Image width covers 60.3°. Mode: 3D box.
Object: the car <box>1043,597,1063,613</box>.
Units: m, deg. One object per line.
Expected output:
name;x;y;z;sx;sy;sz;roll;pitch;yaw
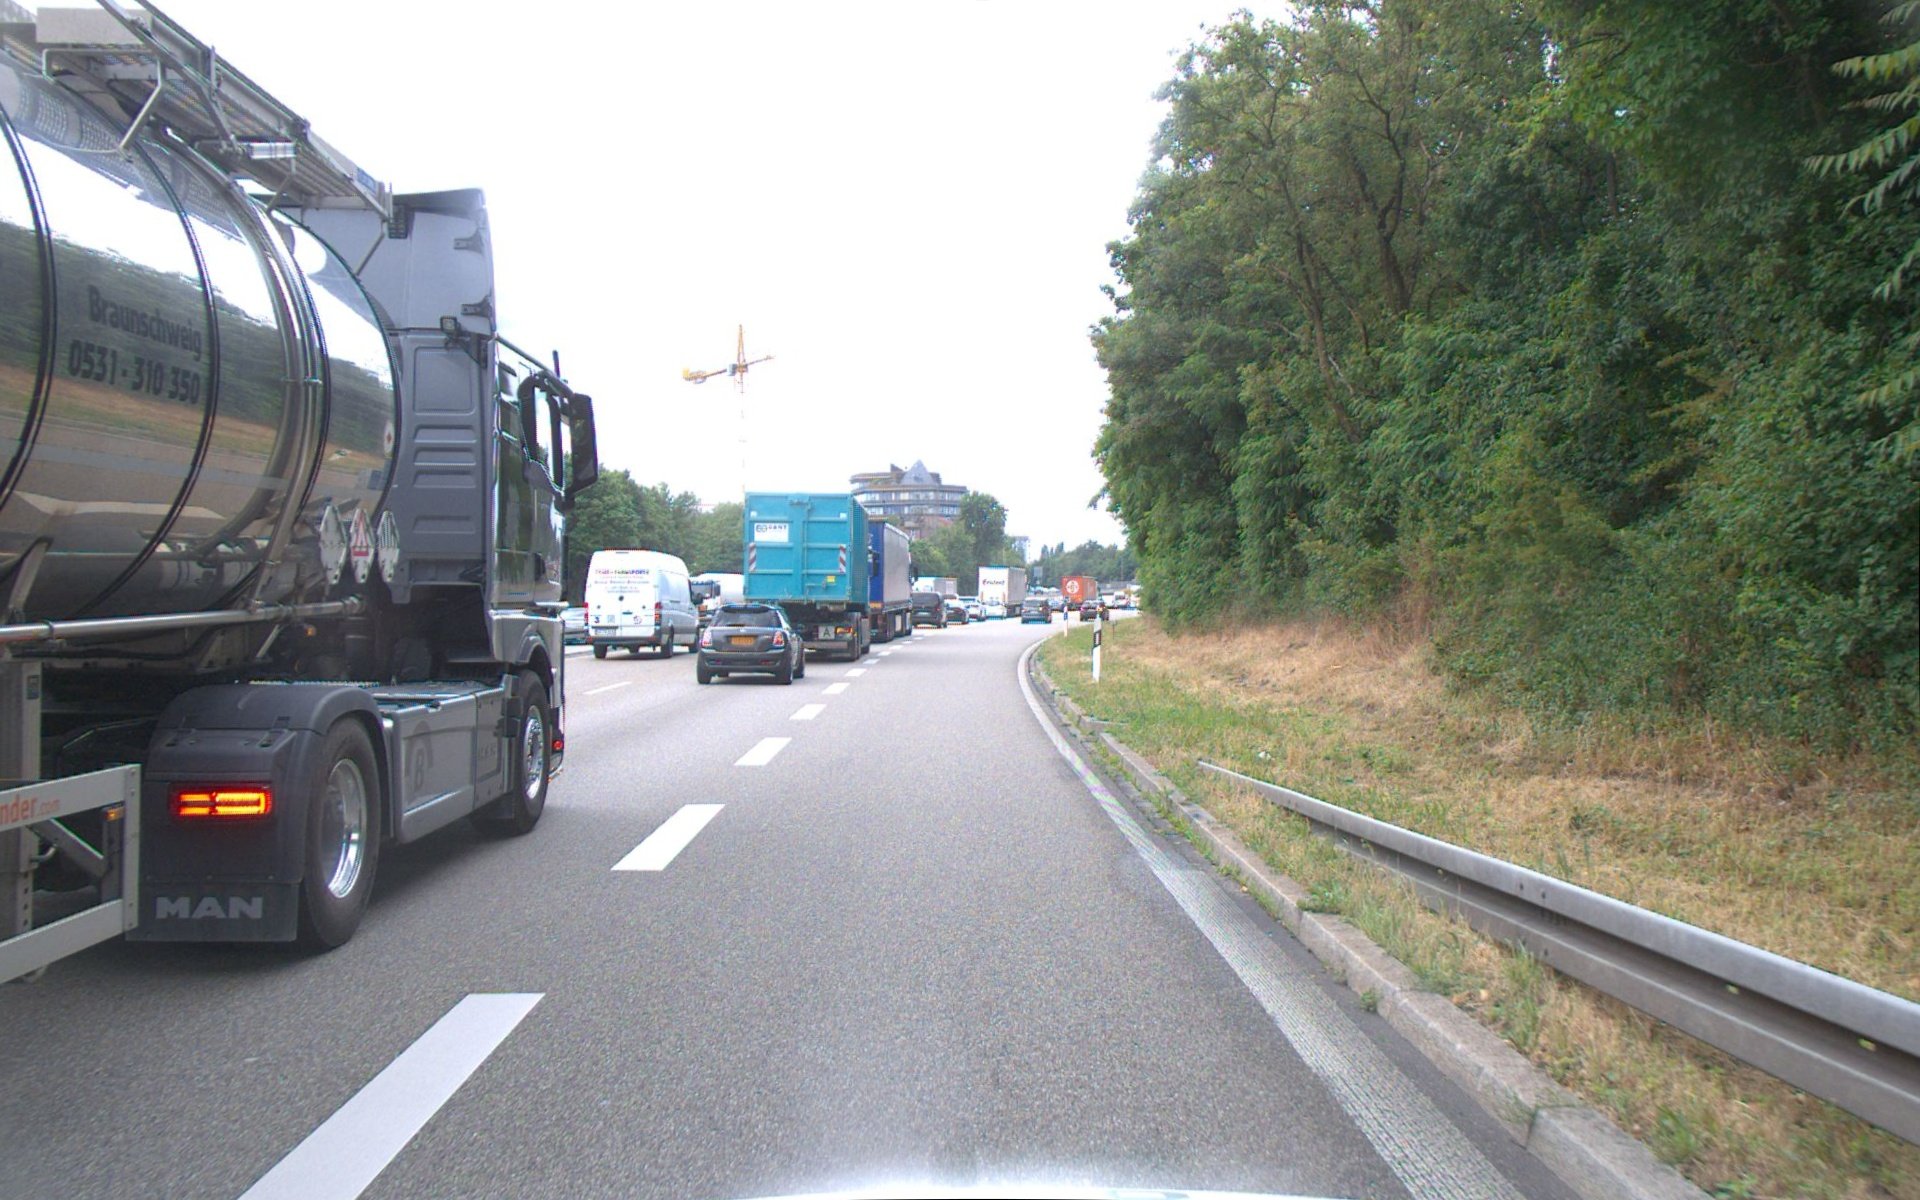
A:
car;9.877;0.529;175.434;1.680;1.713;4.003;1;-1;10

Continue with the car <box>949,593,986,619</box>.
car;0.540;0.424;113.881;1.915;1.724;4.869;-1;0;7

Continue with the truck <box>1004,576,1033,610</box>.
truck;7.516;-0.837;212.197;2.680;4.211;10.705;1;-1;7

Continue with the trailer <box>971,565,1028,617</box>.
trailer;3.394;-0.646;137.929;3.228;4.107;13.107;1;0;8

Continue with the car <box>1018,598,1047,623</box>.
car;4.686;0.657;106.764;1.787;1.508;4.002;-1;0;3

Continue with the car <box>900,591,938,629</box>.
car;-2.187;0.518;88.685;1.947;1.931;4.983;-2;0;-1

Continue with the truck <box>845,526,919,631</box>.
truck;-3.162;-0.841;68.702;2.508;4.113;6.590;1;-1;1

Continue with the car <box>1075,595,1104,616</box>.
car;9.368;0.399;119.548;1.786;1.508;4.003;-1;0;9

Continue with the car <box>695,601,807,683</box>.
car;-3.873;0.744;31.146;1.712;1.447;3.663;0;0;-2

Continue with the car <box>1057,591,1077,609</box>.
car;12.412;-0.030;192.079;1.951;2.049;4.003;-1;0;9

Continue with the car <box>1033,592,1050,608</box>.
car;10.101;-0.010;204.780;1.779;2.049;4.003;-1;0;8

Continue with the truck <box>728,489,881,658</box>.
truck;-3.861;-0.620;43.871;2.869;3.863;11.330;-1;0;0

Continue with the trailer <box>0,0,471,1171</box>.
trailer;-3.728;-0.528;3.443;2.629;3.975;10.980;-1;0;-3

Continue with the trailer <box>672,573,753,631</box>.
trailer;-15.707;0.135;105.966;2.418;3.455;12.469;-1;0;4

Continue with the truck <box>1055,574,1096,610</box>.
truck;14.215;-0.989;203.217;3.415;4.144;13.603;-1;0;11

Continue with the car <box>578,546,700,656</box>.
car;-8.287;0.048;43.352;2.178;2.623;6.793;1;0;-3

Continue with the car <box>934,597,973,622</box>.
car;-0.376;0.579;101.120;1.808;1.485;4.834;-1;0;6

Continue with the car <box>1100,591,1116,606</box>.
car;20.853;-0.239;232.987;1.580;2.049;4.003;-1;0;13

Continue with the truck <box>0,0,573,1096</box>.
truck;-3.931;-0.520;8.281;2.629;3.975;6.932;-1;0;-3

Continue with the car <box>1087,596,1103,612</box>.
car;18.053;0.543;220.782;1.580;1.982;3.708;1;-1;13

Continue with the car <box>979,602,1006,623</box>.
car;2.496;0.912;124.987;1.727;1.504;4.091;-2;0;5

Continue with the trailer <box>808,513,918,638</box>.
trailer;-3.390;-0.752;61.467;2.571;4.093;13.468;1;0;3

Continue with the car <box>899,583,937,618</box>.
car;-3.154;0.026;124.526;1.951;2.598;5.366;-1;0;8
